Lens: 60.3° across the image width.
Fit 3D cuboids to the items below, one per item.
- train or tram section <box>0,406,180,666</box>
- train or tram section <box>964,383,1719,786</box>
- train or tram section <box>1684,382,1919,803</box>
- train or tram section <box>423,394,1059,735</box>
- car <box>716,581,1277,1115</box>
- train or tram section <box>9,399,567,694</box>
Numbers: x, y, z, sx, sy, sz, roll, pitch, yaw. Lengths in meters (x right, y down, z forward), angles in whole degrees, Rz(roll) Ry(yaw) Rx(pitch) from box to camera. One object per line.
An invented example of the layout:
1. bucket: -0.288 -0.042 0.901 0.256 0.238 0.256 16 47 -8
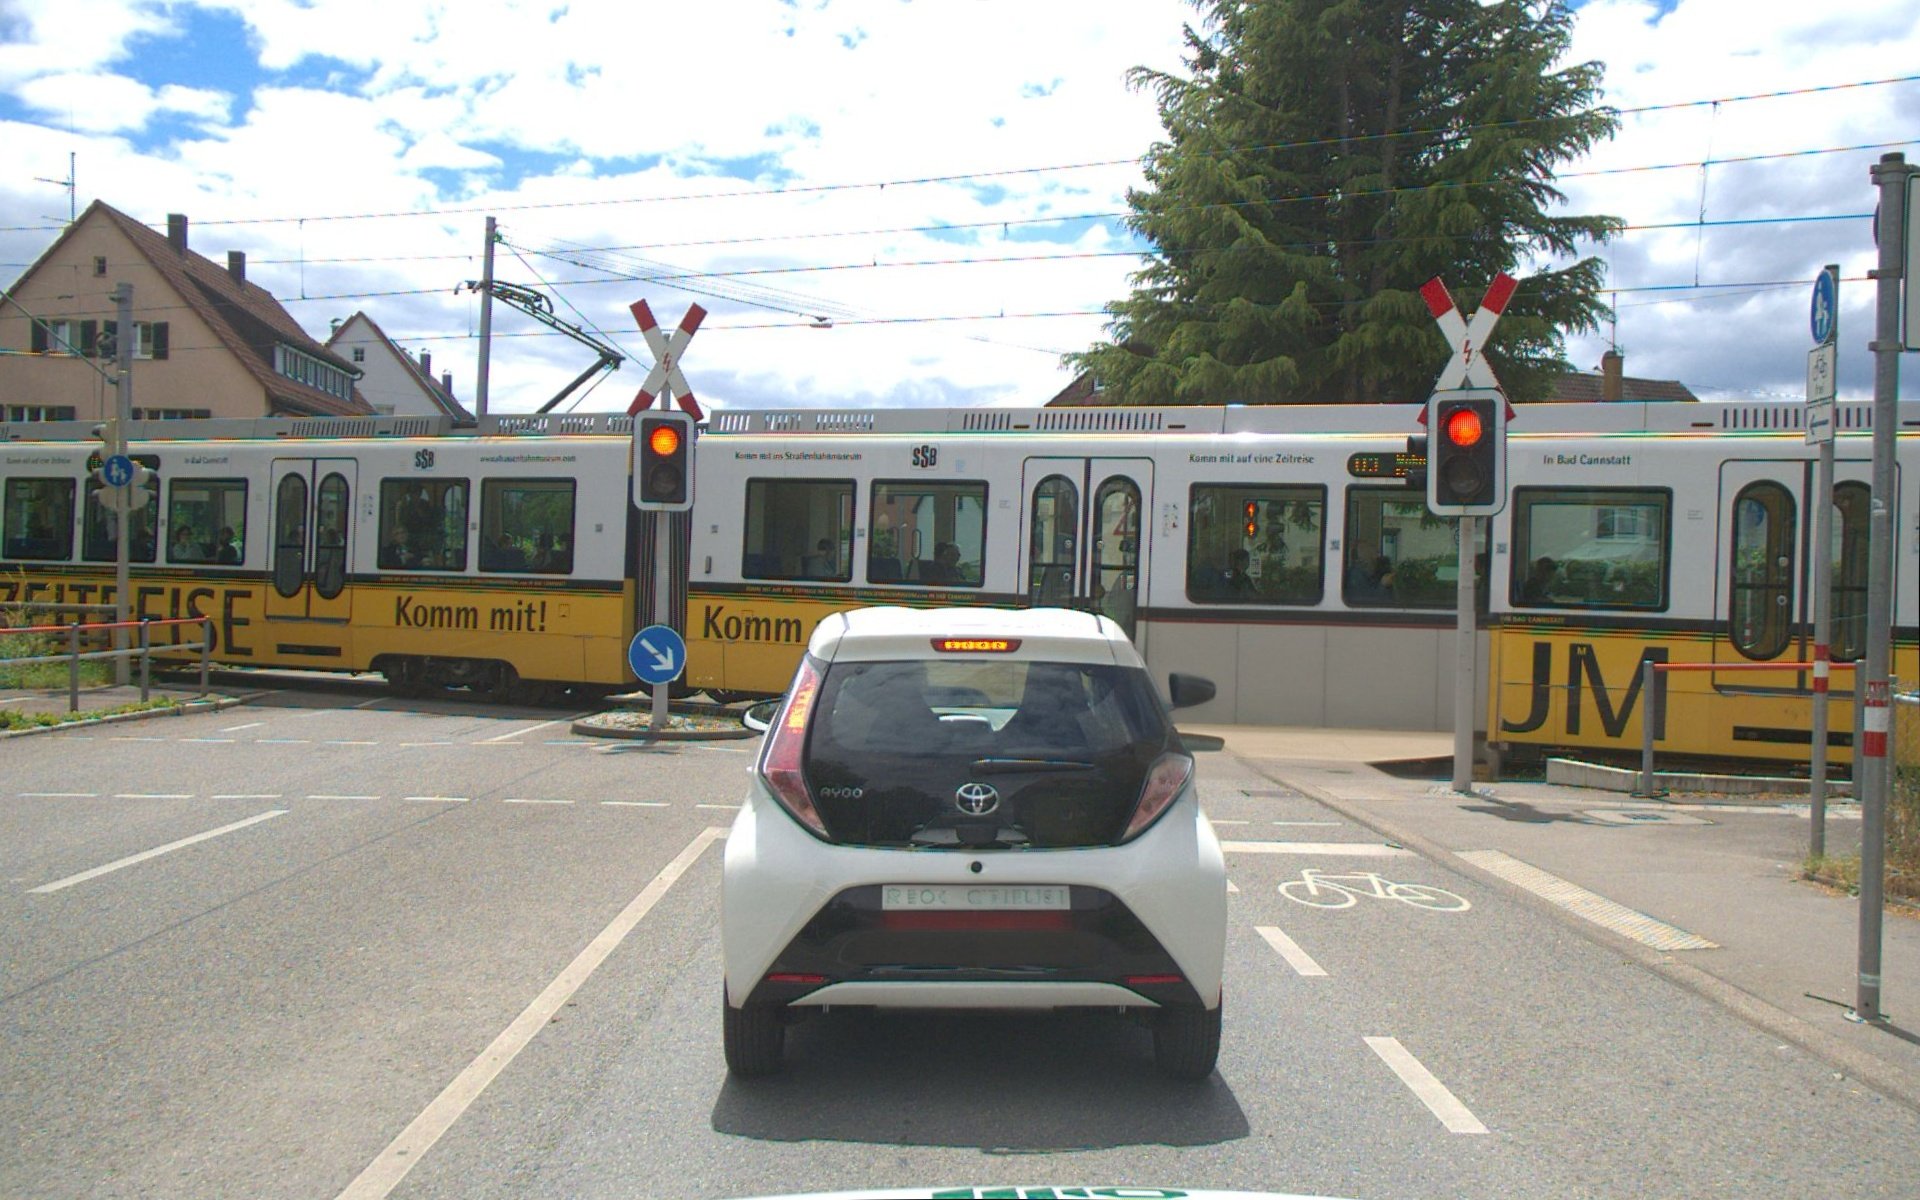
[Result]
1. train or tram section: -16.690 -1.052 26.814 7.535 3.786 2.869 2 0 22
2. train or tram section: 4.118 -0.268 18.312 7.535 3.786 2.869 2 0 22
3. train or tram section: 11.002 0.014 15.485 7.535 3.786 2.869 2 0 22
4. train or tram section: -2.813 -0.517 21.149 7.535 3.786 2.869 2 0 22
5. car: 0.080 0.719 6.723 1.588 1.512 3.999 1 0 -1
6. train or tram section: -9.754 -0.810 23.979 7.535 3.786 2.869 2 0 22
